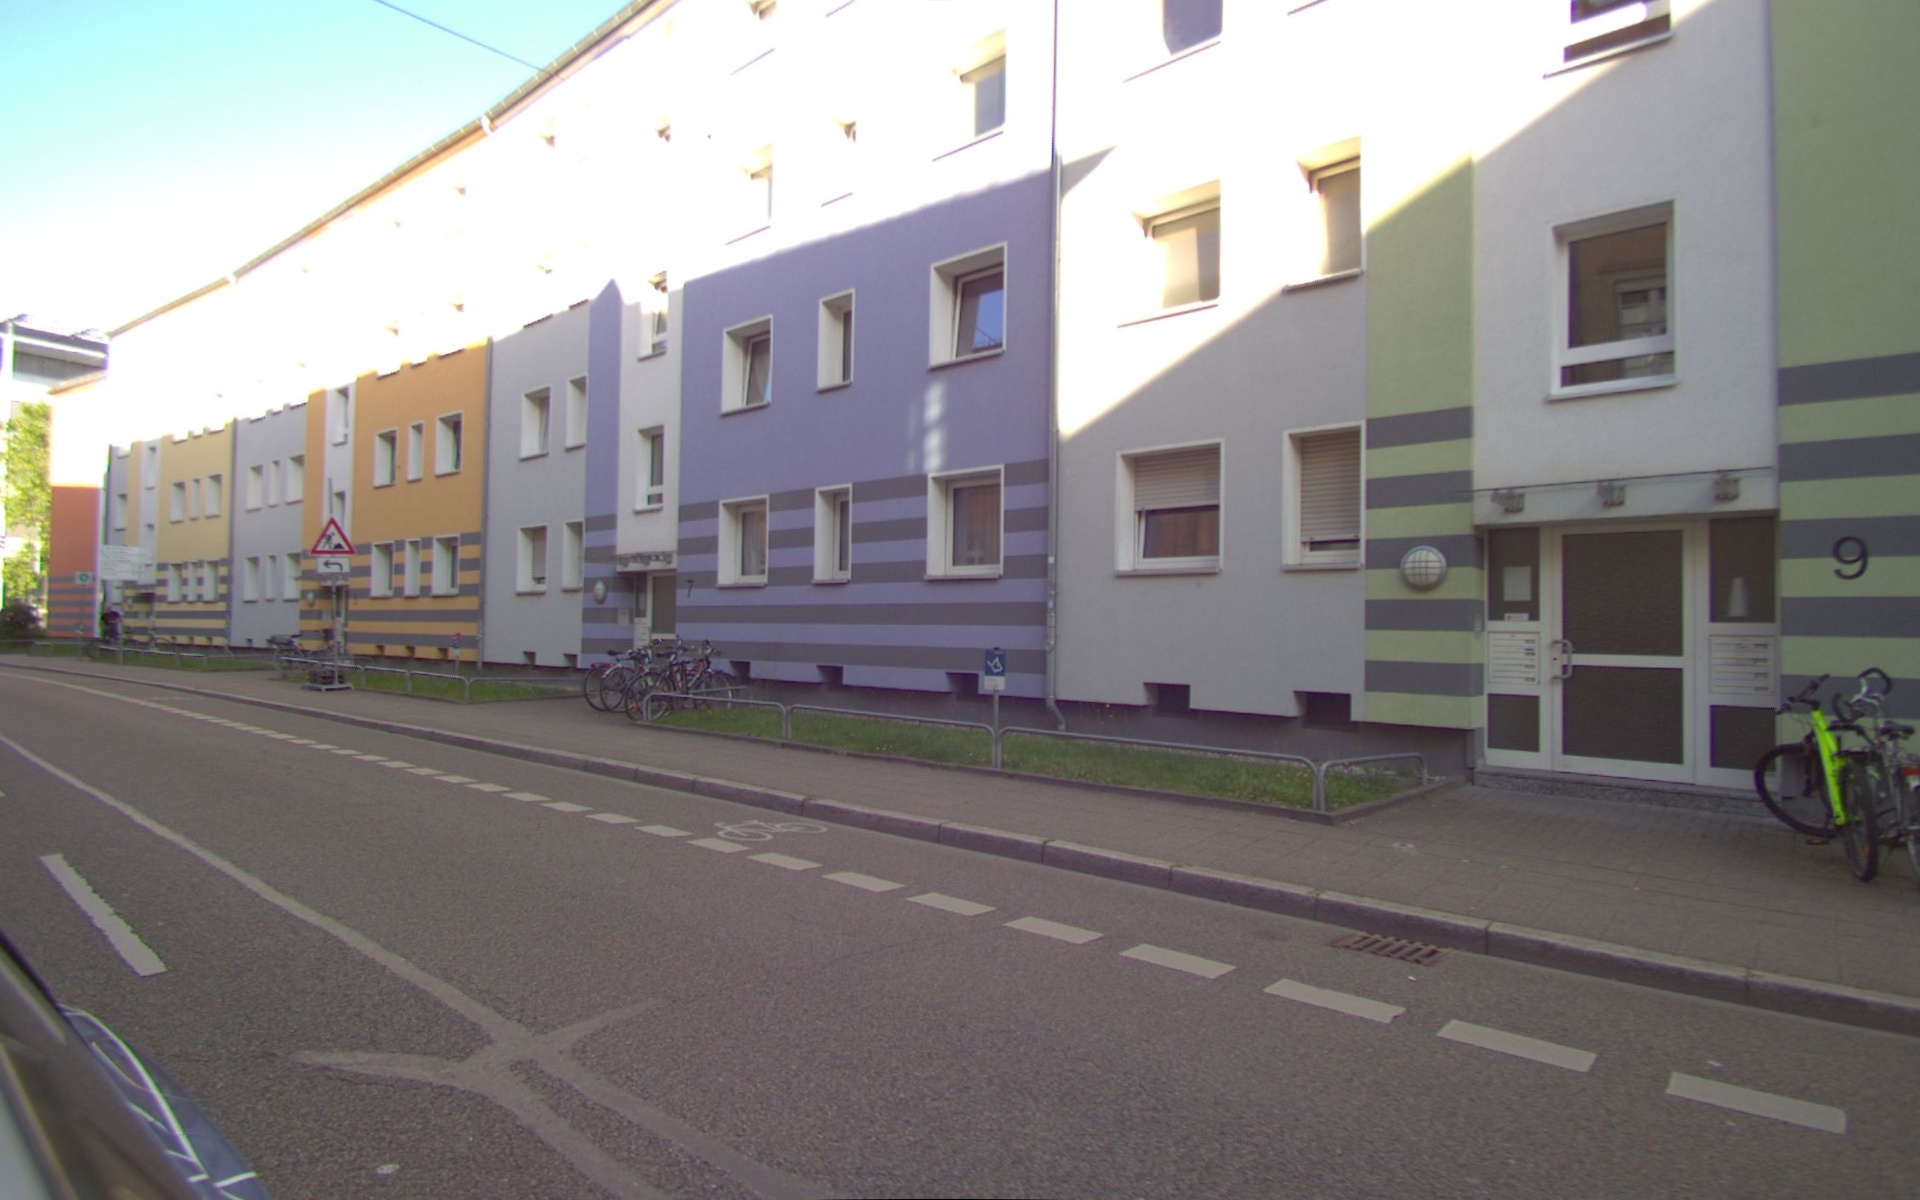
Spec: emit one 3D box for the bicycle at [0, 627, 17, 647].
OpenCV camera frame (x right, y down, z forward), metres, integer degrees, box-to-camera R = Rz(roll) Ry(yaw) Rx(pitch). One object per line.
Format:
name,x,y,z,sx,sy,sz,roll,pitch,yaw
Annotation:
bicycle,-58.195,2.203,61.167,1.965,1.191,0.470,1,-2,0

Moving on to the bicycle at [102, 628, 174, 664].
bicycle,-27.485,1.525,33.857,0.648,1.154,1.739,-1,-2,30

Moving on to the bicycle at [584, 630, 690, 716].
bicycle,-4.974,1.107,15.684,0.448,1.251,1.569,-1,-3,37

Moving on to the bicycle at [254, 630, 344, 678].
bicycle,-16.371,1.327,25.098,0.648,1.154,1.739,-1,-2,30

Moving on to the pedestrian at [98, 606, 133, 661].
pedestrian,-28.987,1.153,34.749,0.709,1.869,0.872,2,-3,-30

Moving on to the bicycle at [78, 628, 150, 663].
bicycle,-28.774,1.534,34.431,0.648,1.154,1.739,-1,-2,30

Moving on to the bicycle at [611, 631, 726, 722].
bicycle,-4.190,1.079,14.665,0.466,1.251,1.623,-1,-3,37

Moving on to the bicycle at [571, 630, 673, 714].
bicycle,-5.300,1.110,15.945,0.383,1.251,1.564,-1,-3,37

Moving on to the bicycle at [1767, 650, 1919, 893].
bicycle,5.661,0.963,6.239,0.610,1.188,1.919,0,0,24

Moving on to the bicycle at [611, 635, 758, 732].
bicycle,-3.775,1.114,14.036,0.622,1.241,1.989,-1,-3,37
